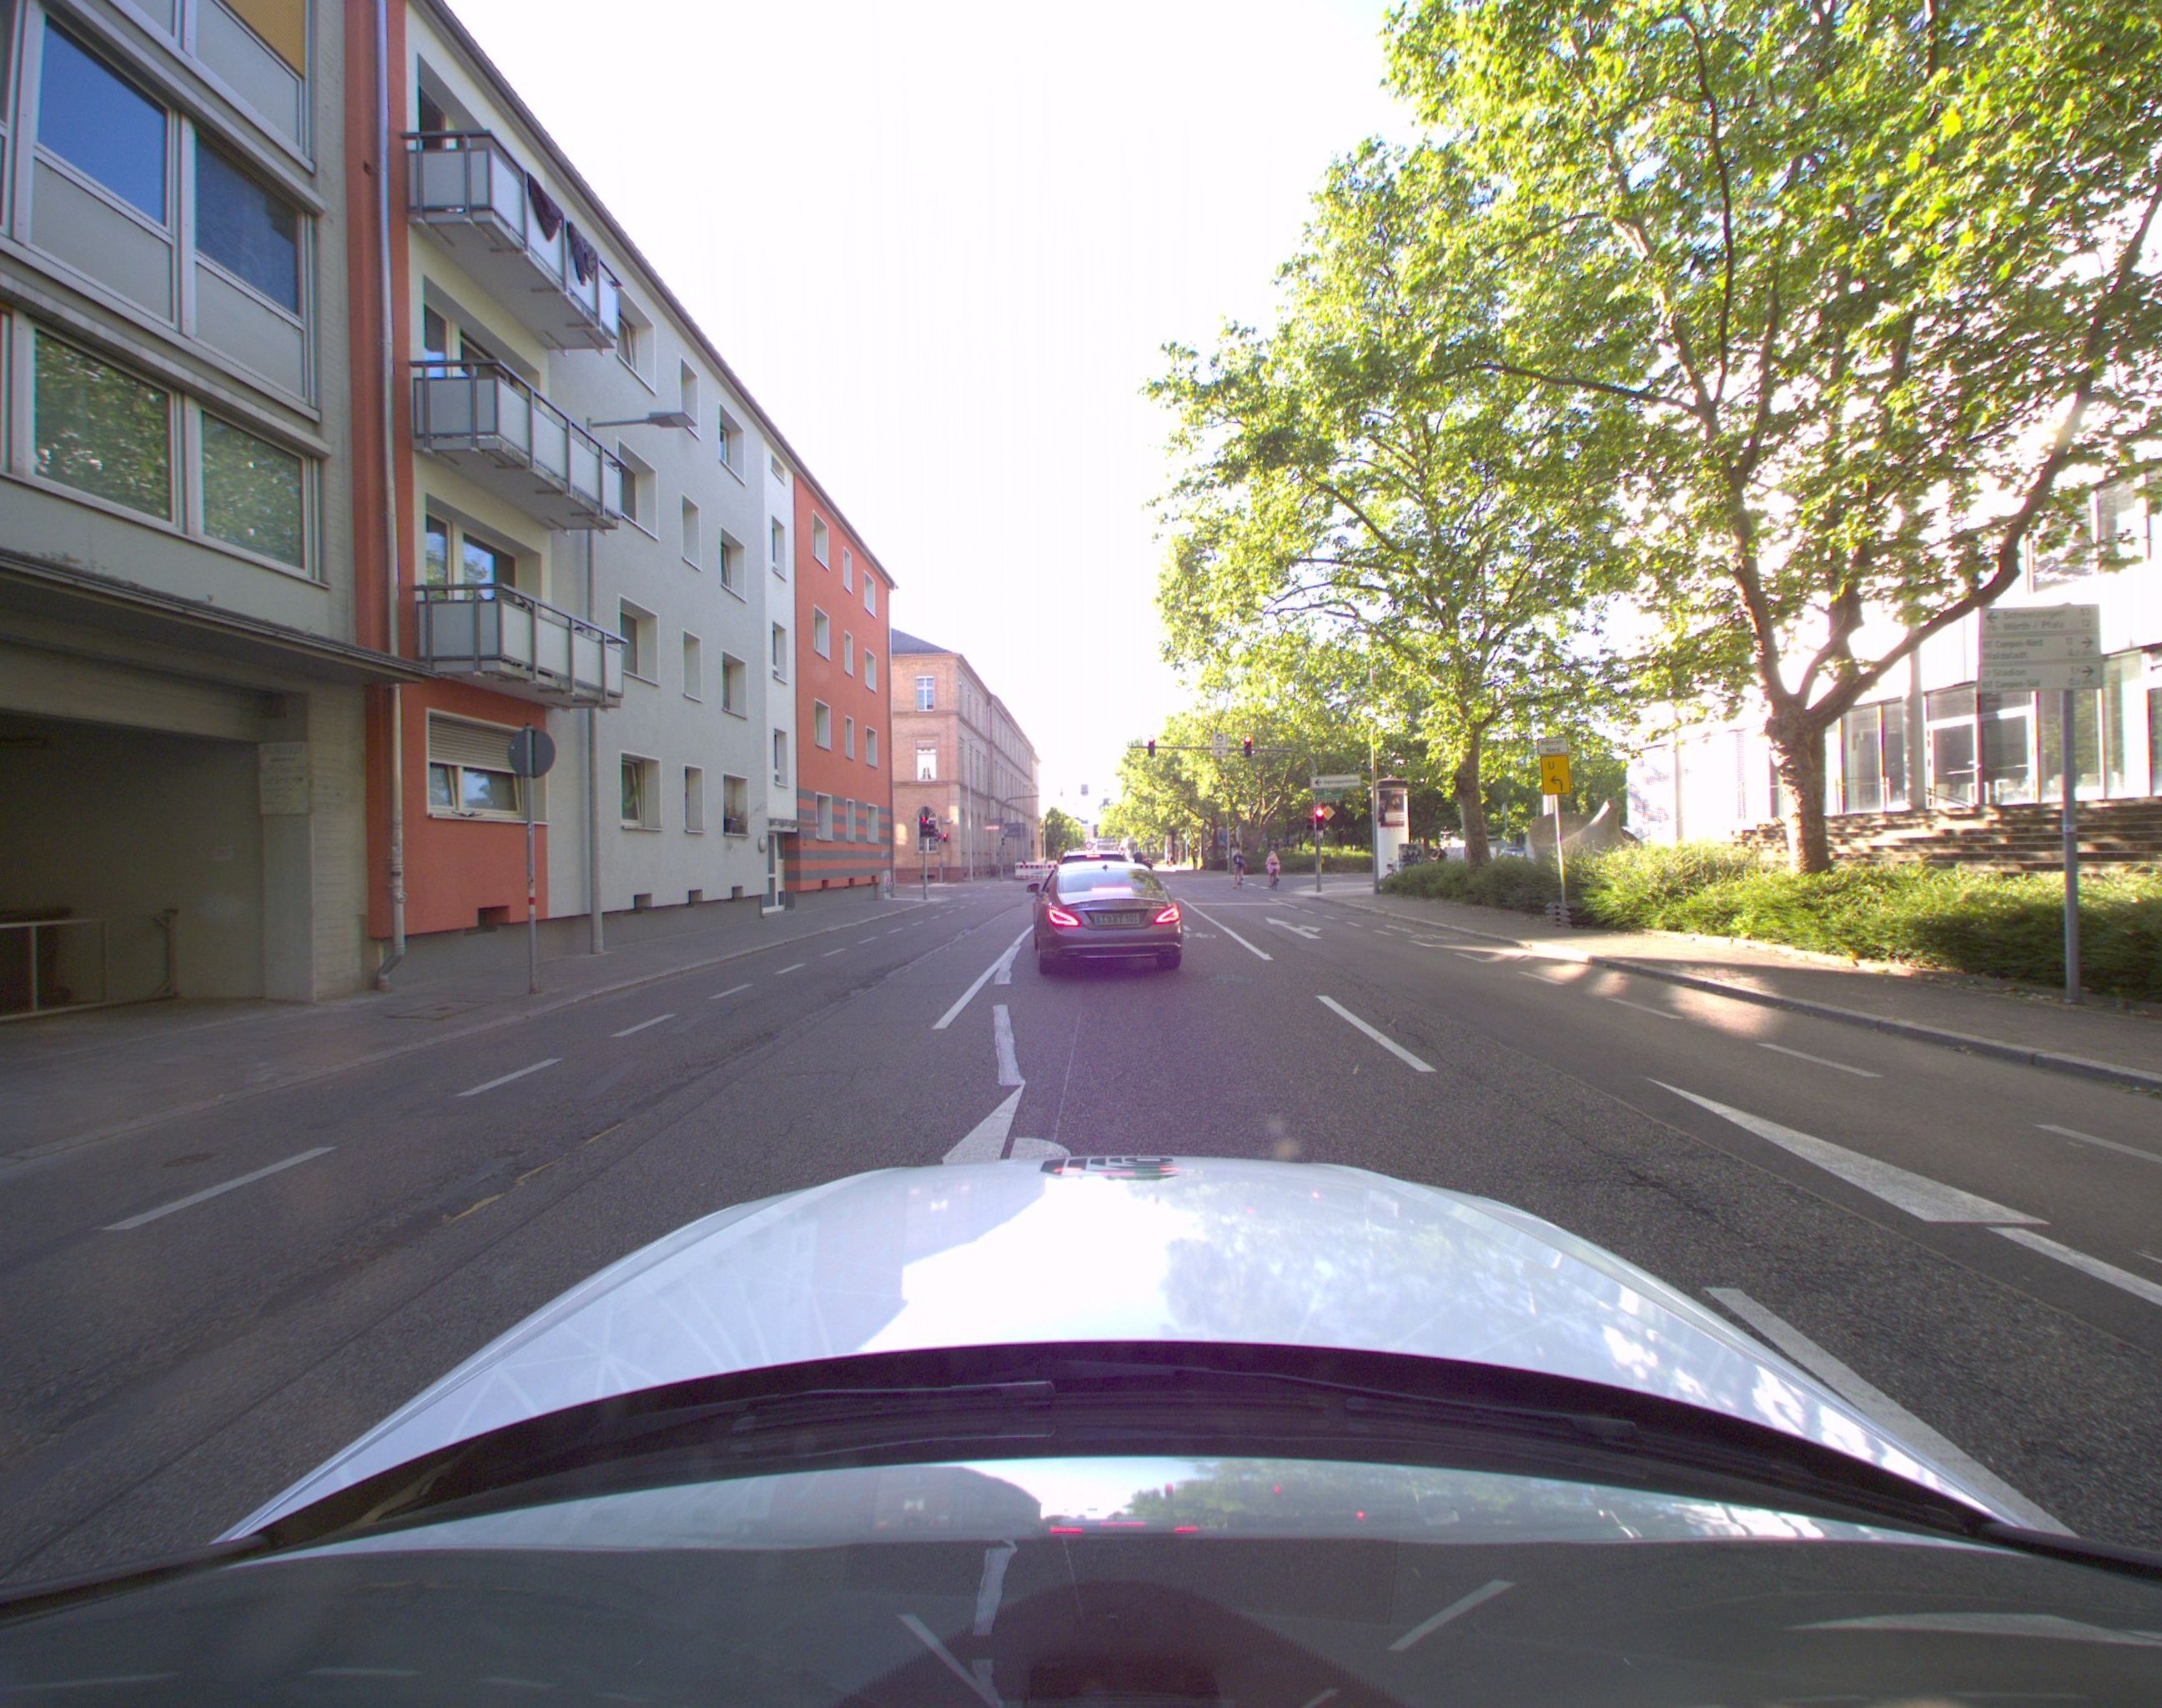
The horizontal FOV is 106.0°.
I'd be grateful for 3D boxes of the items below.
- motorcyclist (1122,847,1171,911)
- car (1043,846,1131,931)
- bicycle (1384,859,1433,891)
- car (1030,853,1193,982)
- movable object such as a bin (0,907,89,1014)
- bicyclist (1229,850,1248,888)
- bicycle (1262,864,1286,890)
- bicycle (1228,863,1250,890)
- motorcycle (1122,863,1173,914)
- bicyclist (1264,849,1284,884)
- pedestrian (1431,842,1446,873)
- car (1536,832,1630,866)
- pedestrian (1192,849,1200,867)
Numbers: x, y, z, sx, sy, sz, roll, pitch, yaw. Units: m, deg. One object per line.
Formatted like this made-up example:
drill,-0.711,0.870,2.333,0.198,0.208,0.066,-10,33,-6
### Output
motorcyclist,1.705,0.640,21.317,1.110,1.613,1.201,-1,0,-3
car,0.139,0.685,17.859,1.676,1.625,3.841,-1,0,1
bicycle,10.987,0.707,27.348,1.411,1.037,0.538,-1,0,-2
car,0.233,0.750,11.763,1.818,1.476,4.346,-1,0,-5
movable object such as a bin,-11.274,1.107,8.646,0.584,1.040,0.712,-1,0,2
bicyclist,6.453,0.596,33.357,0.608,1.516,0.890,0,0,2
bicycle,7.877,0.918,33.344,0.598,0.985,1.882,1,0,2
bicycle,6.462,0.906,33.299,0.608,1.026,1.732,0,0,2
motorcycle,1.699,0.863,21.299,1.005,1.204,2.662,-1,0,-2
bicyclist,7.887,0.497,33.290,0.598,1.402,0.931,1,0,2
pedestrian,21.031,0.214,47.913,0.617,1.784,0.631,-1,0,4
car,28.001,-0.255,45.536,3.975,1.784,2.004,-1,0,7
pedestrian,10.477,0.359,74.238,0.557,1.678,0.565,-1,0,1
